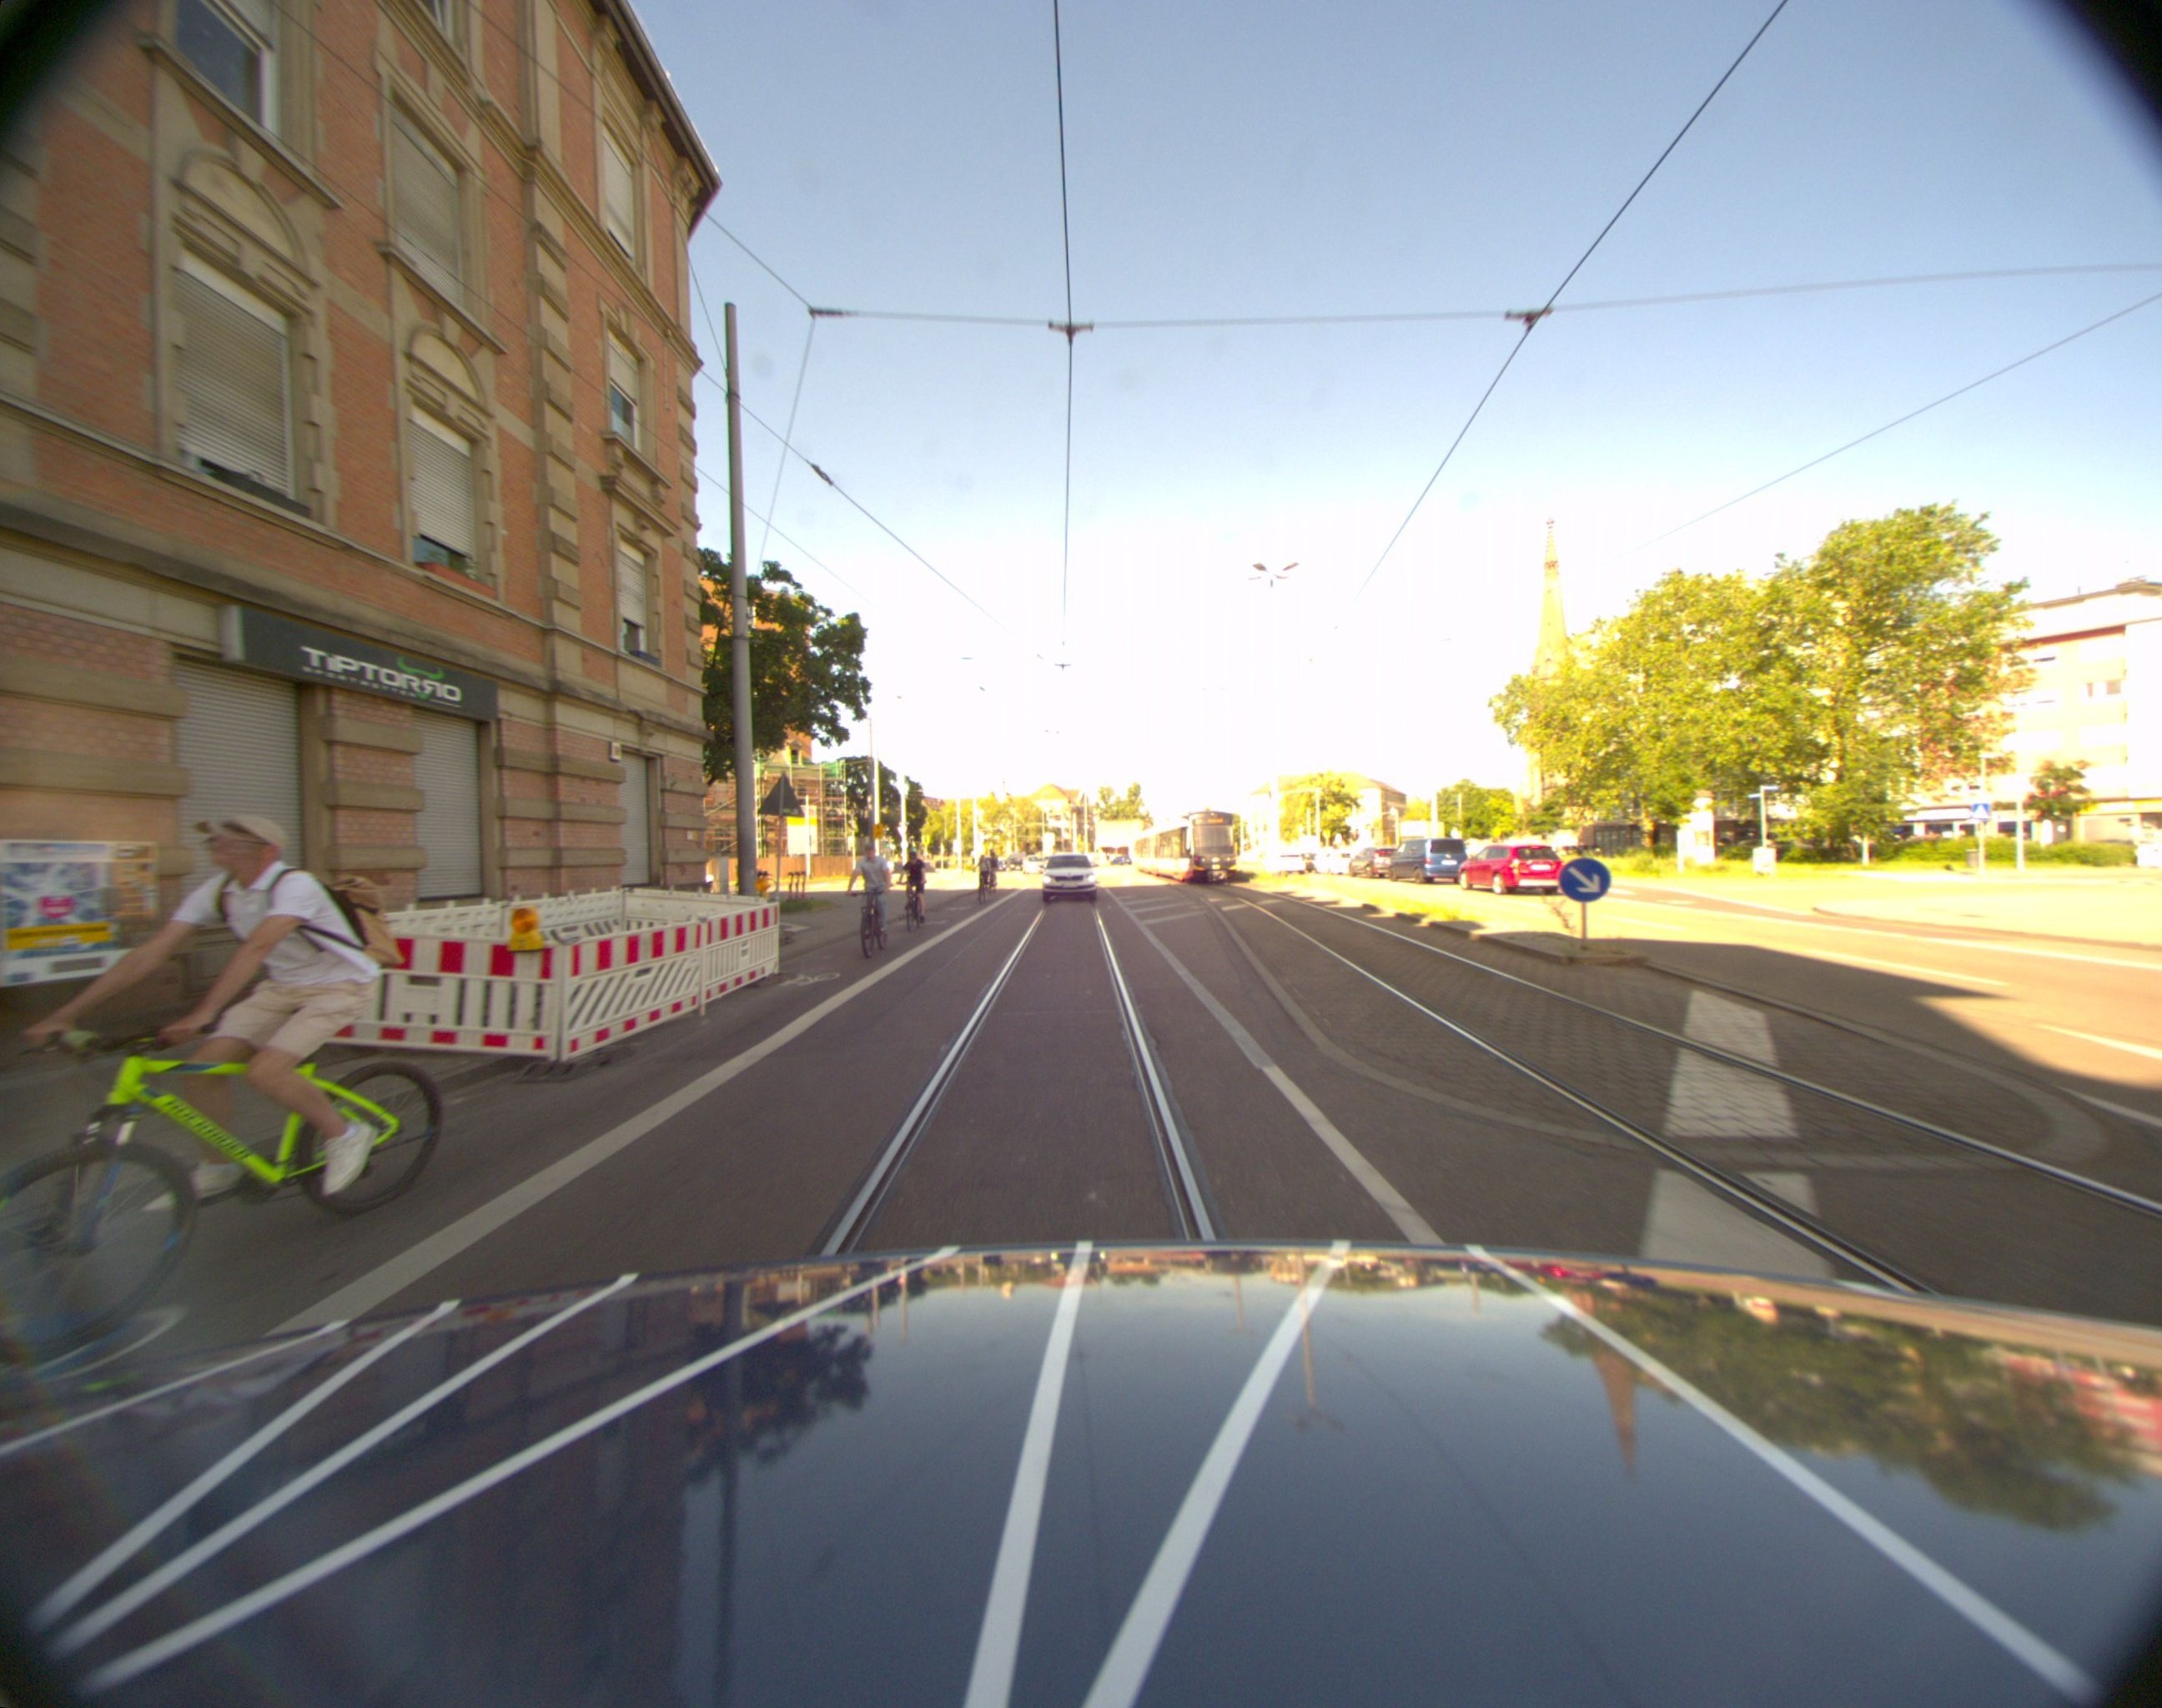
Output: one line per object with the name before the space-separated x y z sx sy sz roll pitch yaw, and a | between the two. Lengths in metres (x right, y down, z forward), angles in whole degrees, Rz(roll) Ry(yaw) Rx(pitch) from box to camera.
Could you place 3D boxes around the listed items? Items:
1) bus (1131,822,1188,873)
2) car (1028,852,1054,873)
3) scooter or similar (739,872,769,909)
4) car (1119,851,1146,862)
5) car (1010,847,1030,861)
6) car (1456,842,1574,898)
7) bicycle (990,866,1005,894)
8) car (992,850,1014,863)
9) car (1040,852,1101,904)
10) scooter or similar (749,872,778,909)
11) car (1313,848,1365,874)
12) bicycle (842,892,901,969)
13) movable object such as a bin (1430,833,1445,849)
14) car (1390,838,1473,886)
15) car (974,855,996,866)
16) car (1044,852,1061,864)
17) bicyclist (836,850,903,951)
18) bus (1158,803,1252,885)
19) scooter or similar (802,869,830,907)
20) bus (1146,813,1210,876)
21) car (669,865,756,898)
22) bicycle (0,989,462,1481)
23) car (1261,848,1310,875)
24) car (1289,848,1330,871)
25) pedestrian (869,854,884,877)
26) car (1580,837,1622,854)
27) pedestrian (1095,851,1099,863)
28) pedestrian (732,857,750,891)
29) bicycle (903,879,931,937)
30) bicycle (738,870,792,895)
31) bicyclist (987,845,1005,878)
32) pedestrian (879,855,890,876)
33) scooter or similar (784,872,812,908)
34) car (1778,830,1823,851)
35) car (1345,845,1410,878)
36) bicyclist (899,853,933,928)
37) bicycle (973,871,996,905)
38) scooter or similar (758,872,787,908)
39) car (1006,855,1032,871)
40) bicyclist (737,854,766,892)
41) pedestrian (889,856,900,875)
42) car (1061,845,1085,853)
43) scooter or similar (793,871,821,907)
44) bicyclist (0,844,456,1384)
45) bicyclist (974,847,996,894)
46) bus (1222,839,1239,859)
bus | 6.057 -0.506 60.993 2.848 3.569 13.493 -2 0 -1
car | -3.491 0.705 65.952 1.887 1.621 4.009 -3 1 -7
scooter or similar | -11.542 1.276 26.872 0.271 1.189 1.564 -3 1 1
car | 6.973 0.287 103.429 1.915 1.449 4.592 -2 1 -19
car | -11.960 0.027 148.845 2.246 2.665 5.296 -4 1 -24
car | 14.416 0.463 25.570 1.803 1.709 4.417 -1 1 6
bicycle | -3.701 1.141 33.573 0.533 1.151 1.865 -3 -1 -4
car | -9.920 0.304 96.500 1.888 1.557 4.006 -4 1 -17
car | -0.291 0.780 27.141 1.868 1.635 4.397 -2 0 3
scooter or similar | -11.210 1.273 26.863 0.271 1.178 1.564 -3 1 1
car | 15.608 0.384 46.137 1.807 1.424 3.999 -3 1 1
bicycle | -3.437 1.221 12.621 0.387 1.063 1.933 -2 1 1
movable object such as a bin | 37.078 -1.382 79.076 0.993 1.625 0.935 -4 2 -33
car | 14.968 0.289 32.709 1.807 1.922 4.165 -1 1 2
car | -14.072 0.968 111.329 1.924 1.450 4.660 -4 1 -22
car | -4.111 0.561 110.274 1.687 1.523 3.910 -4 1 -13
bicyclist | -3.471 0.744 12.548 0.784 1.584 0.886 -2 1 1
bus | 6.109 -0.483 39.532 2.848 3.569 11.269 -2 0 0
scooter or similar | -9.284 1.158 26.630 0.271 1.212 1.703 -3 1 1
bus | 6.146 -0.559 49.669 2.848 3.569 10.725 -2 0 1
car | -21.862 1.582 45.126 4.259 1.612 1.913 -3 2 -38
bicycle | -3.433 1.261 2.921 0.533 1.111 1.933 -4 0 -3
car | 12.618 0.422 47.104 1.807 1.424 4.540 -3 1 1
car | 15.501 0.337 51.638 1.654 1.470 3.970 0 1 1
pedestrian | -18.032 0.997 67.079 0.933 1.919 1.048 -3 1 -4
car | 50.210 -0.851 73.357 4.006 1.490 1.739 -2 0 -31
pedestrian | 2.147 0.420 103.937 0.372 1.547 0.644 -3 1 -6
pedestrian | -18.661 1.088 41.643 0.651 1.838 0.545 -5 2 -42
bicycle | -3.647 1.168 17.010 0.533 1.111 1.931 -2 2 -11
bicycle | -14.600 1.304 35.148 2.199 1.052 0.487 -3 1 -39
bicyclist | -3.778 0.308 33.761 0.676 1.413 1.036 -3 1 -3
pedestrian | -16.977 1.009 65.796 0.661 1.747 0.823 -3 1 -4
scooter or similar | -9.881 1.244 26.579 0.271 1.156 1.703 -3 1 1
car | 57.132 -1.062 60.337 4.007 1.490 1.995 -2 0 -38
car | 15.283 0.366 39.362 1.807 1.569 4.164 -1 1 1
bicyclist | -3.721 0.792 17.172 0.625 1.604 0.980 -4 1 -12
bicycle | -3.364 1.167 26.684 0.533 1.111 1.934 -3 0 0
scooter or similar | -10.893 1.255 26.871 0.271 1.178 1.564 -3 1 1
car | -6.736 0.981 81.912 1.888 1.557 4.006 -4 1 -17
bicyclist | -15.052 0.855 34.709 1.048 1.651 0.453 -4 2 -40
pedestrian | -16.385 1.009 66.669 0.661 1.667 0.823 -3 1 -4
car | -1.843 -1.235 183.797 5.243 1.793 2.405 -4 1 -27
scooter or similar | -9.577 1.211 26.601 0.271 1.150 1.703 -3 1 1
bicyclist | -3.394 0.828 3.016 0.681 1.674 1.121 -3 1 23
bicyclist | -3.400 0.571 26.969 0.551 1.604 0.953 -3 1 0
bus | 28.151 -0.944 142.594 2.846 3.104 11.824 -3 2 11
